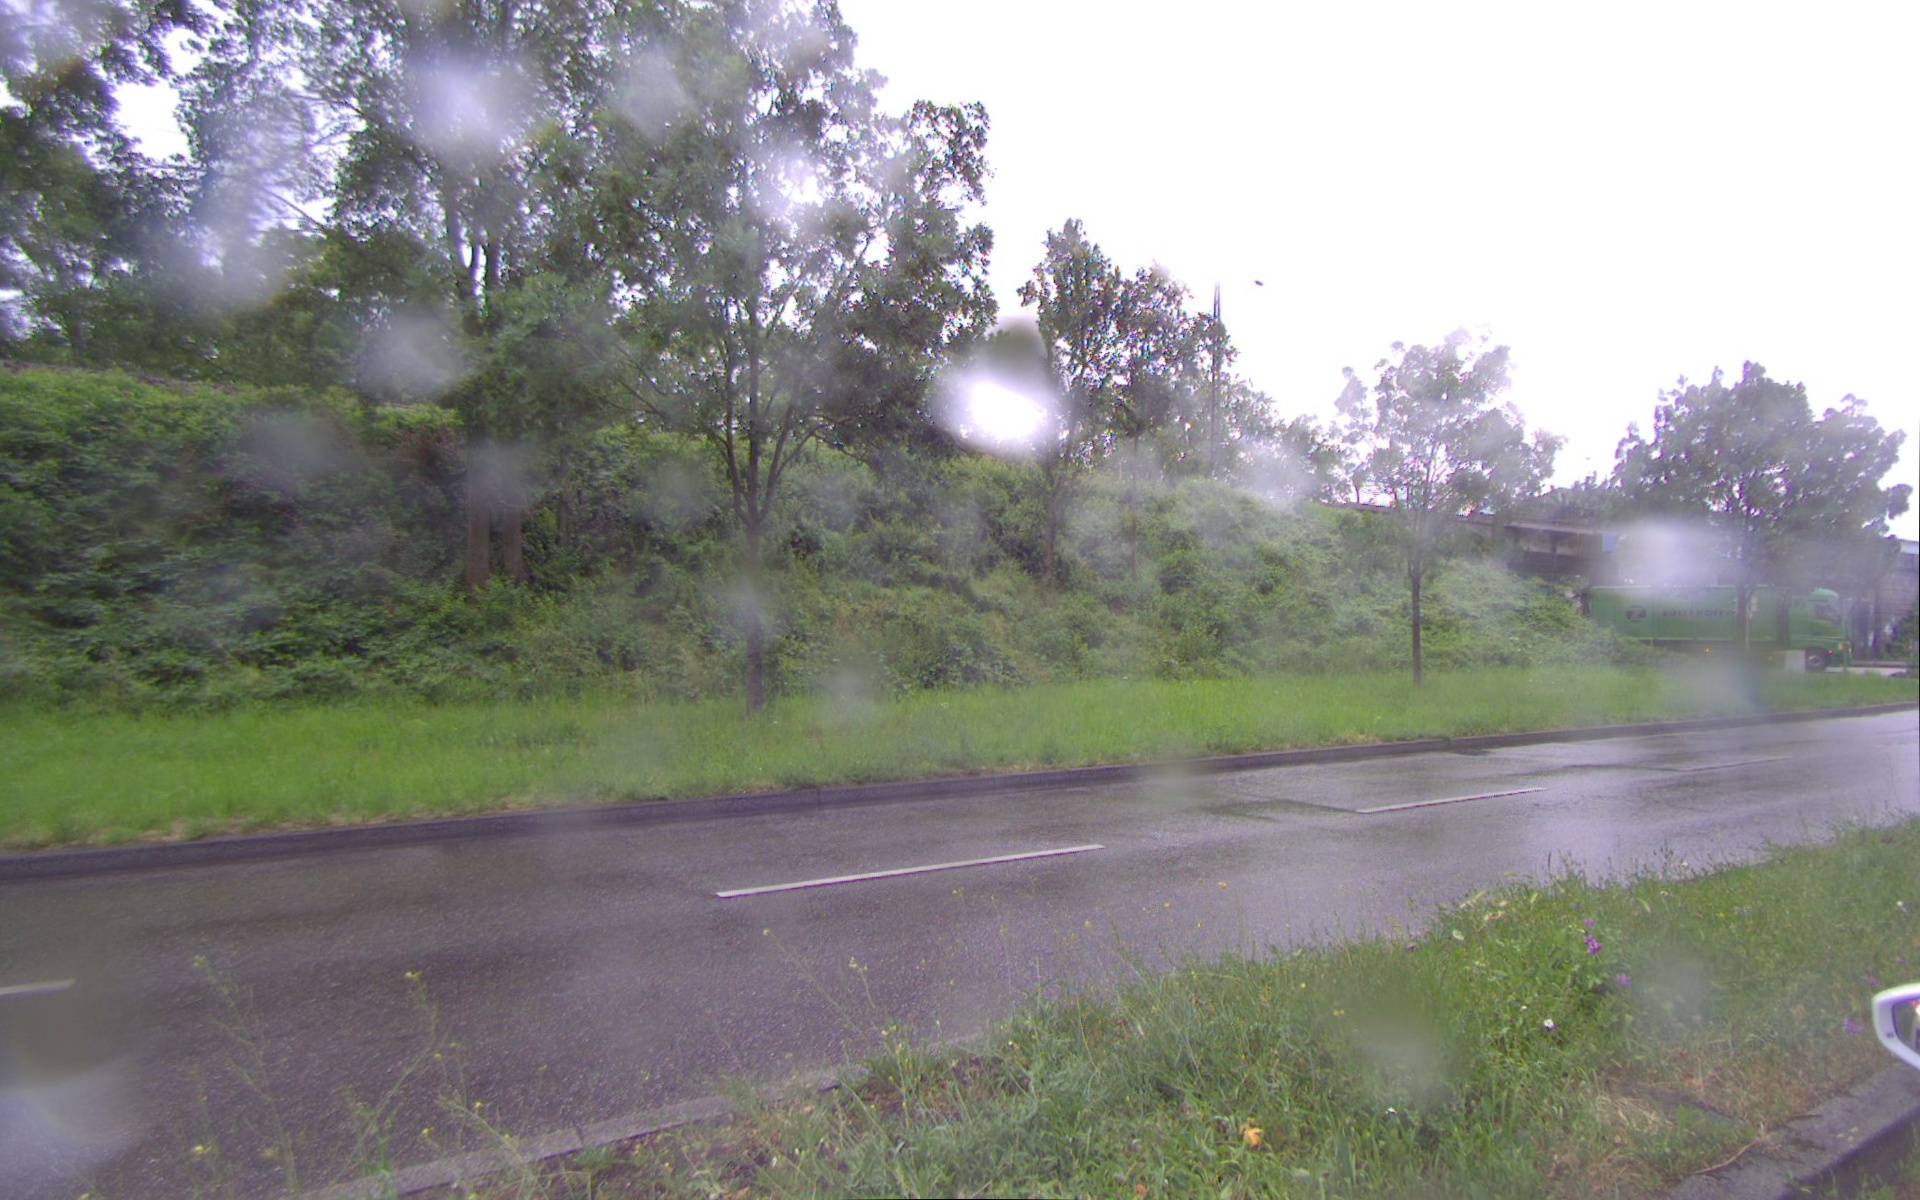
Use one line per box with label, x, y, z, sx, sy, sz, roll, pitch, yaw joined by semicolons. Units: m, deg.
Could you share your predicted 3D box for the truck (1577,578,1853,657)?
truck;34.377;0.753;46.305;9.872;3.416;2.346;0;-1;25
